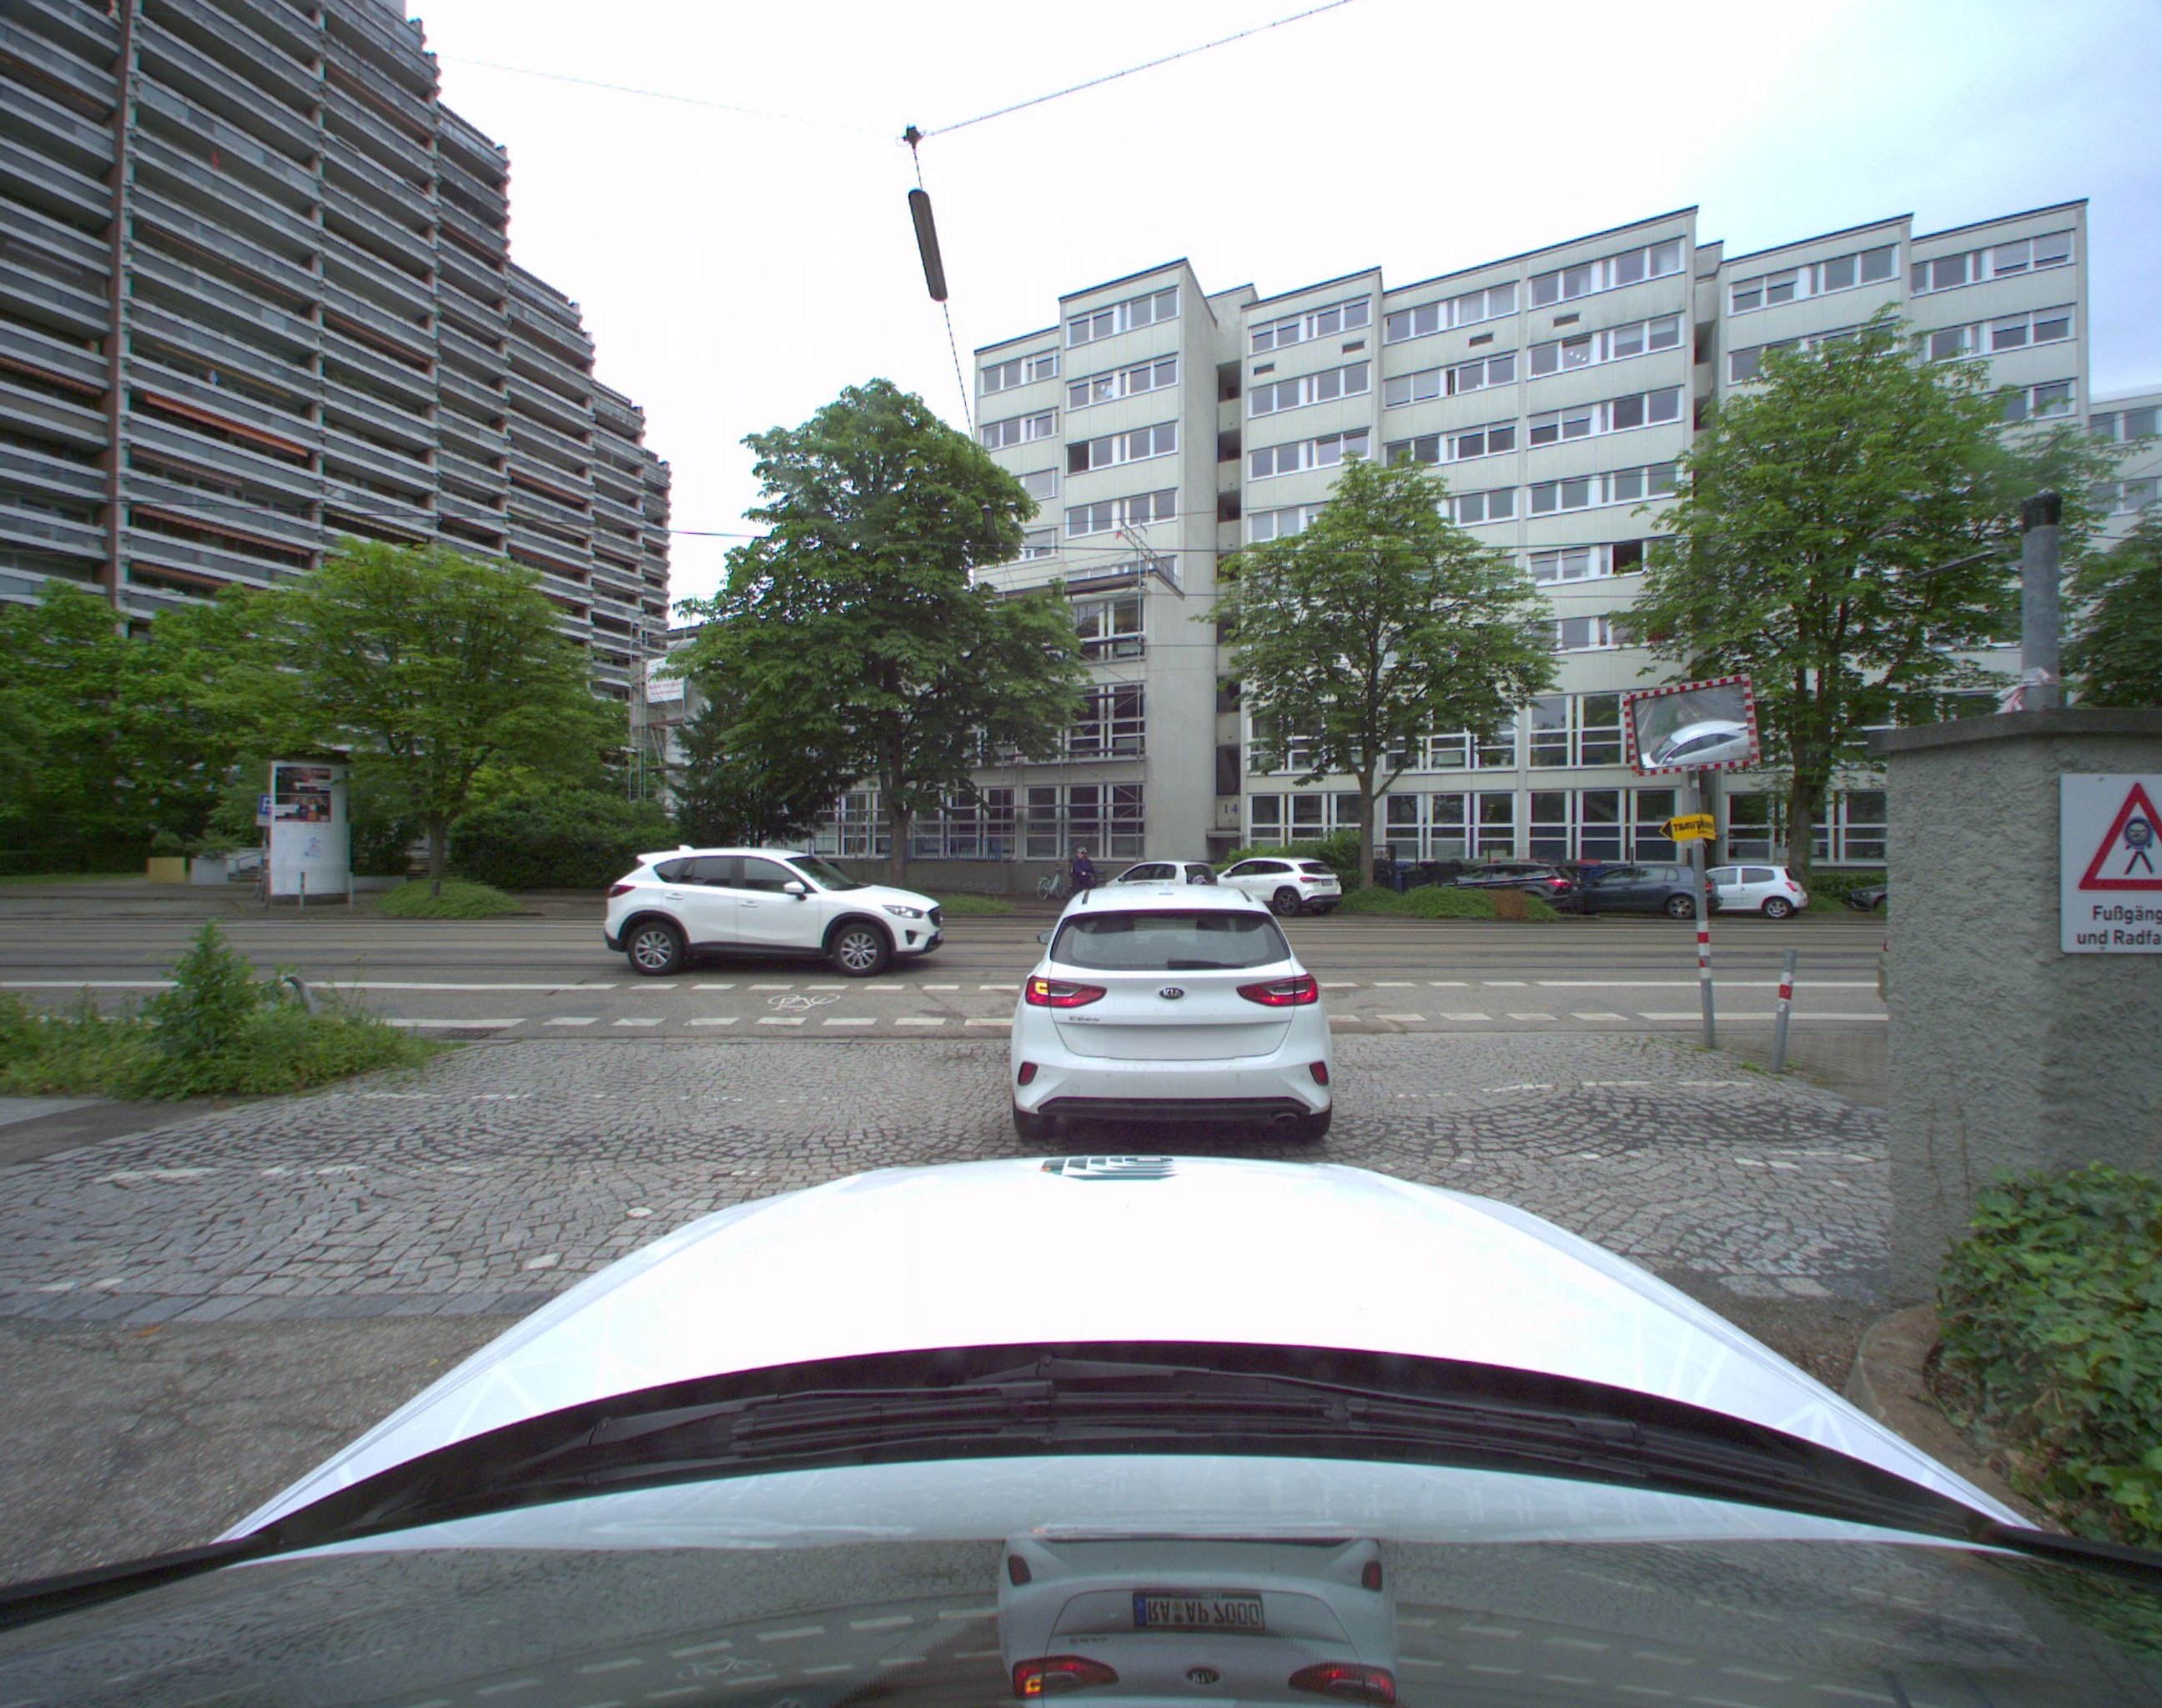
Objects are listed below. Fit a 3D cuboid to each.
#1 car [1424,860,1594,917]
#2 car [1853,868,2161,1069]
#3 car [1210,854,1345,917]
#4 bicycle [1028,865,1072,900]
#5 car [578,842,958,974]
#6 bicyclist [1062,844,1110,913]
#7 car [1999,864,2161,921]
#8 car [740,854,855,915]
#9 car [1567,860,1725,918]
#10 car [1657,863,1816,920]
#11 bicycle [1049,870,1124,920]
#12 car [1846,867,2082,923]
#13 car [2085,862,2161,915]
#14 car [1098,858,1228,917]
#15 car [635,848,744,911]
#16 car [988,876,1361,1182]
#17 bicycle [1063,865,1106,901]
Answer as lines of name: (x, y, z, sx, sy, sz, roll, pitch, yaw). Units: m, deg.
car: (11.964, 0.917, 22.895, 3.904, 1.474, 1.684, -1, -1, 42)
car: (9.234, 0.890, 7.050, 3.570, 1.501, 1.665, 0, 0, 0)
car: (5.392, 0.817, 22.603, 1.565, 1.618, 3.367, 0, -1, -42)
bicycle: (-1.073, 0.986, 28.642, 0.638, 1.074, 2.325, 0, 2, 22)
car: (-4.189, 0.689, 11.541, 4.572, 1.703, 1.999, 0, 1, -1)
bicyclist: (0.120, 0.603, 20.754, 0.839, 1.698, 0.886, 1, -1, -43)
car: (28.565, 1.051, 23.036, 1.425, 1.474, 3.348, 0, 0, -44)
car: (-7.643, 0.763, 21.825, 1.628, 1.511, 3.295, 0, -1, -45)
car: (15.482, 0.920, 22.409, 1.425, 1.474, 3.348, 0, -1, -44)
car: (18.492, 1.004, 23.047, 1.425, 1.474, 3.348, 0, -1, -44)
bicycle: (0.130, 1.006, 20.745, 0.826, 1.174, 1.892, 1, 0, -44)
car: (25.043, 1.125, 23.362, 4.441, 1.474, 1.425, -1, -3, 42)
car: (31.494, 0.982, 23.290, 1.425, 1.474, 3.348, 0, 0, -44)
car: (2.183, 0.868, 22.280, 1.565, 1.473, 3.367, 0, -1, -42)
car: (-10.522, 0.634, 21.809, 1.628, 1.537, 3.296, 0, 0, -45)
car: (0.606, 0.889, 5.907, 1.767, 1.433, 3.984, -1, -2, 5)
bicycle: (0.141, 0.987, 28.147, 0.638, 1.074, 2.325, 0, 2, 22)
